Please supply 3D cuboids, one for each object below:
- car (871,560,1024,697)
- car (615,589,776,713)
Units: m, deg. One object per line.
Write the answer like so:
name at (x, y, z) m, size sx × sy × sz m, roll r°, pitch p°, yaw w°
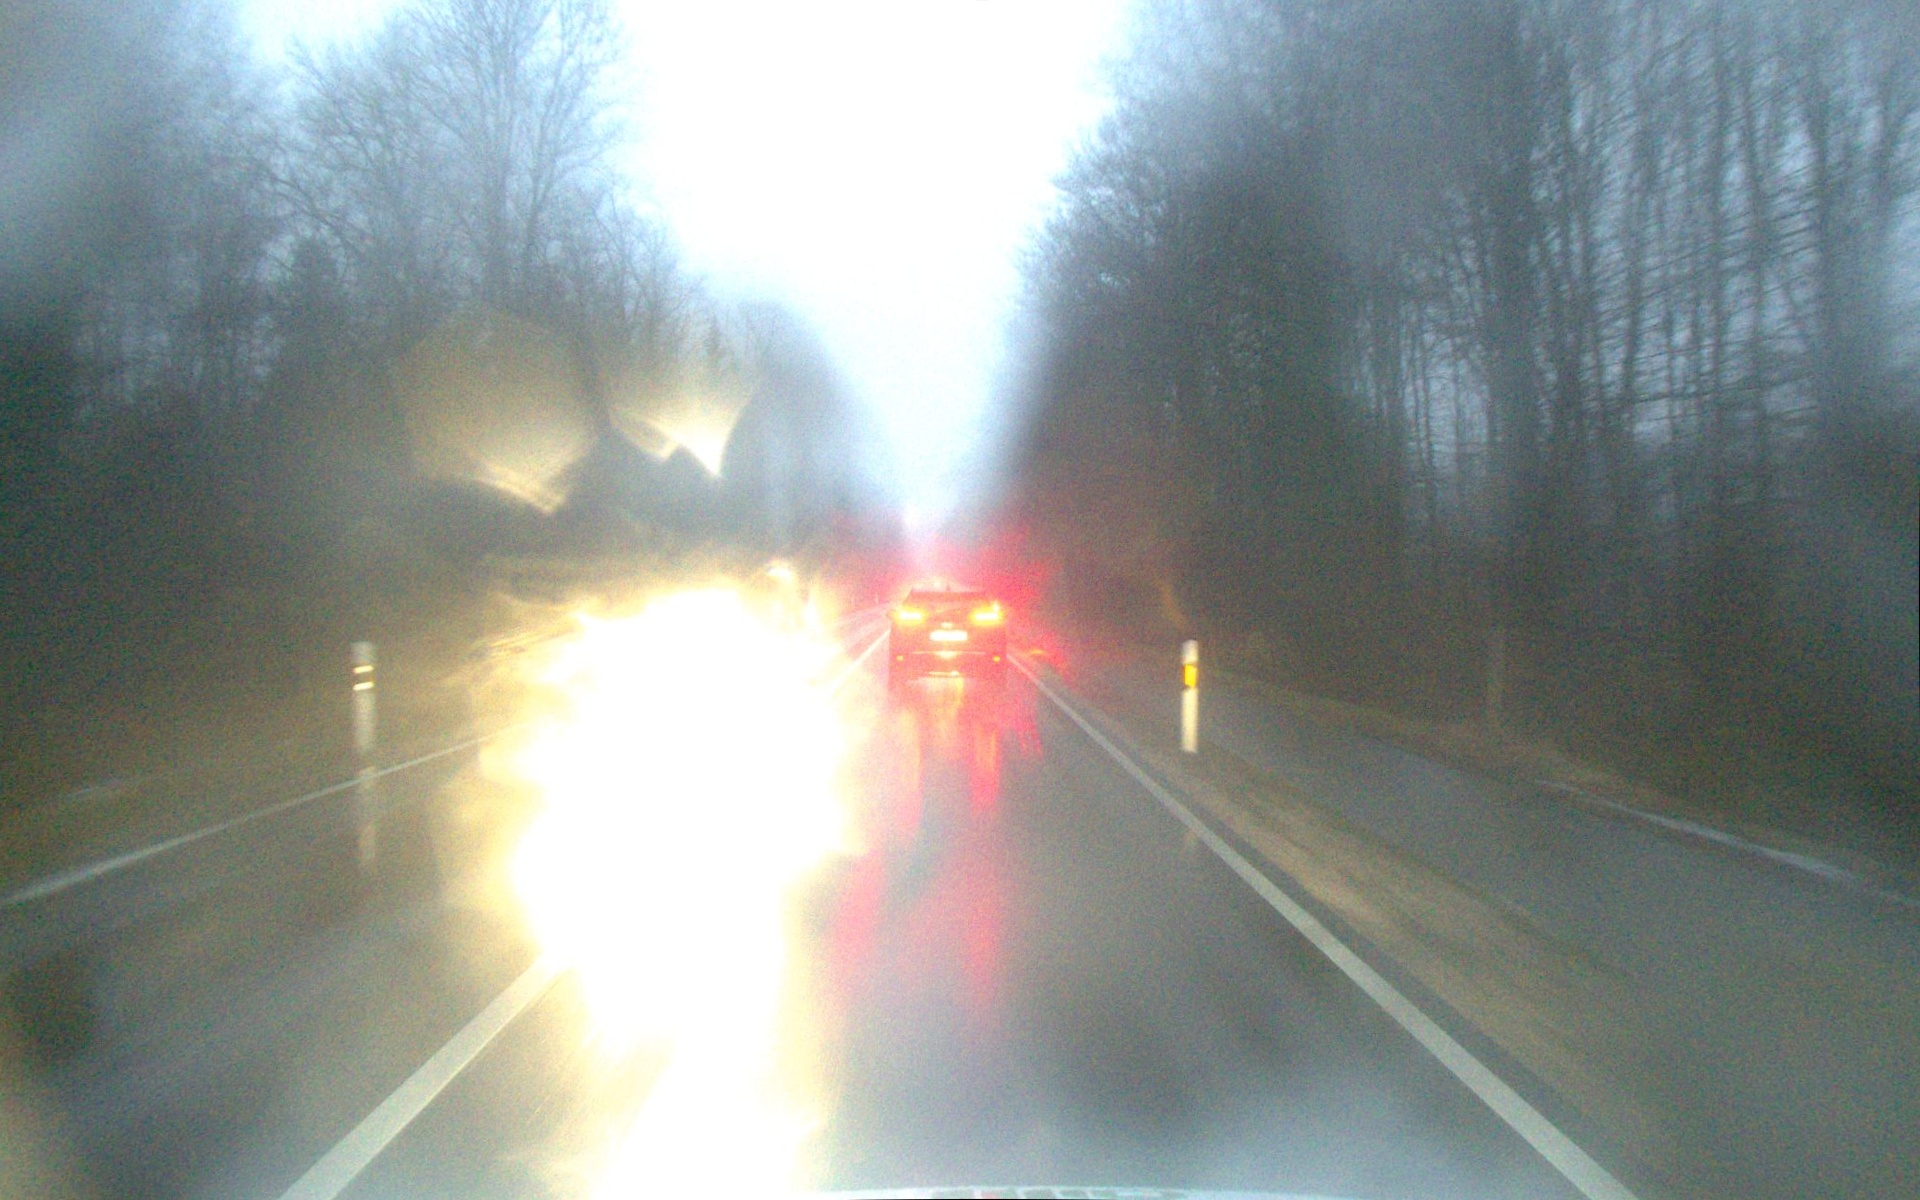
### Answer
car at (-0.229, 0.389, 25.871) m, size 2.153 × 1.910 × 4.826 m, roll 1°, pitch 0°, yaw -1°
car at (-3.582, 0.637, 22.982) m, size 1.566 × 1.522 × 3.894 m, roll -2°, pitch 0°, yaw 0°
